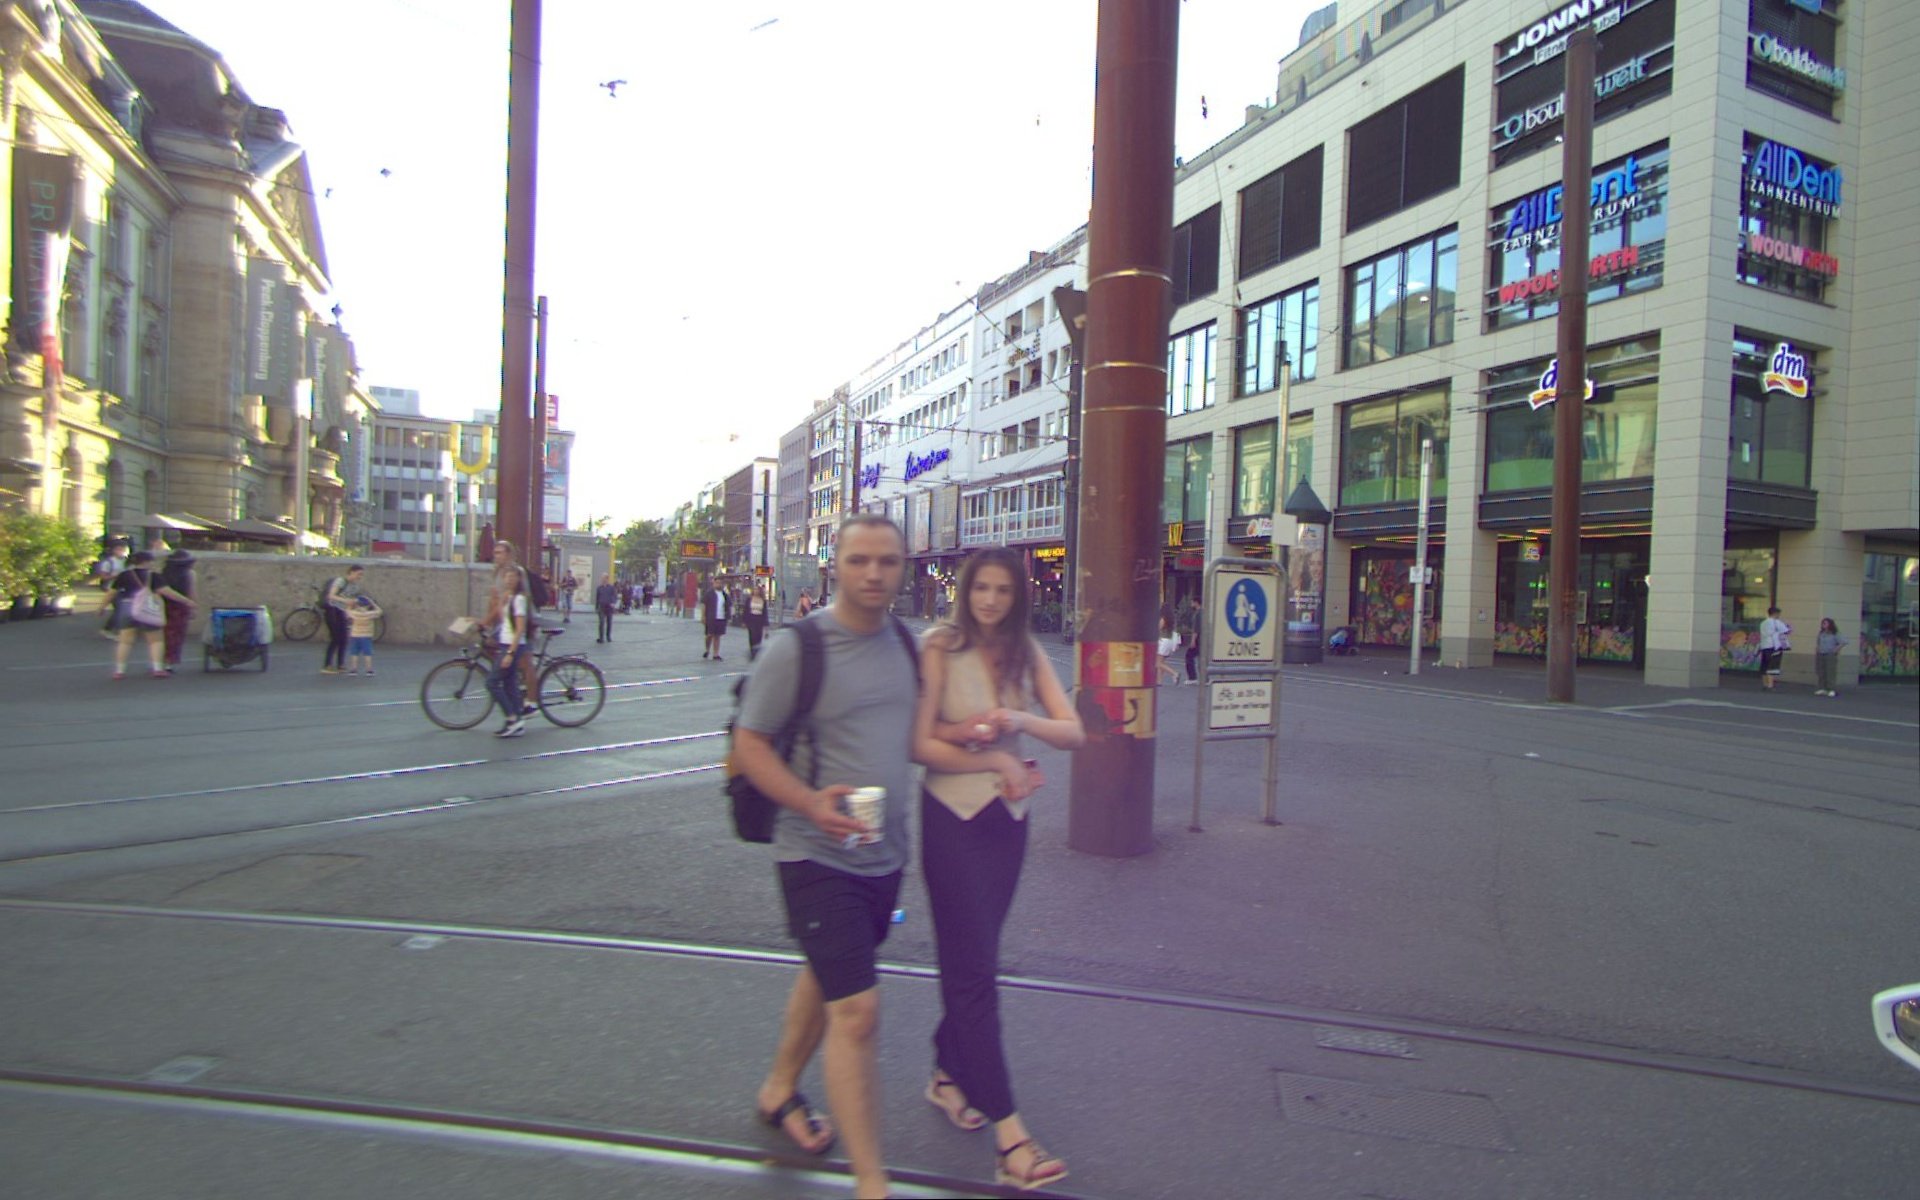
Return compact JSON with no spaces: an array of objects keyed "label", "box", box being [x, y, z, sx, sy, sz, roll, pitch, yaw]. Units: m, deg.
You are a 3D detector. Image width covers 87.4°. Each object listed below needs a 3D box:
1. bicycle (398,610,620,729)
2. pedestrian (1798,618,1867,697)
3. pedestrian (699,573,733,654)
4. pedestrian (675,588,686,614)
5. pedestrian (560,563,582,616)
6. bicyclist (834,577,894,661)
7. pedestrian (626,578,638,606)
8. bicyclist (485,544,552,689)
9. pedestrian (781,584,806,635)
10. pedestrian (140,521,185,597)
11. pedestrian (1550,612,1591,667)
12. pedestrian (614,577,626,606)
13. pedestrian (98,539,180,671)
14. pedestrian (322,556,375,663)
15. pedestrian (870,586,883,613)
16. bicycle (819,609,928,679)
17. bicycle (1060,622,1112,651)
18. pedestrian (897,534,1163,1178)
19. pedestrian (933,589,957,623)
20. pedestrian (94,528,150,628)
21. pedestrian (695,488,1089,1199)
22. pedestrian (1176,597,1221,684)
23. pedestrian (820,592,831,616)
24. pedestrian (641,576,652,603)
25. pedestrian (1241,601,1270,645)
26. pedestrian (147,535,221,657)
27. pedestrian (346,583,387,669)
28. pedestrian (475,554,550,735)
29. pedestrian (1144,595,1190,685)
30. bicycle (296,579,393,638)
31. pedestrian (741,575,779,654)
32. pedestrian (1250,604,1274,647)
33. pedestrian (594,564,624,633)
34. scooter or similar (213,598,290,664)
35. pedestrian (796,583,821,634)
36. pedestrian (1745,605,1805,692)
[{"label":"bicycle","box":[-4.590,0.692,10.287,1.999,1.113,0.570,2,1,-31]},{"label":"pedestrian","box":[19.449,1.262,22.404,0.801,1.682,0.767,2,1,-9]},{"label":"pedestrian","box":[-5.239,0.284,21.543,0.640,1.696,0.528,1,0,-17]},{"label":"pedestrian","box":[-14.487,0.048,52.011,0.446,1.338,0.426,2,2,-28]},{"label":"pedestrian","box":[-12.832,-0.348,33.147,0.641,1.696,0.712,1,0,-22]},{"label":"bicyclist","box":[-1.779,0.343,18.585,0.858,1.485,0.598,3,1,30]},{"label":"pedestrian","box":[-15.597,-0.382,47.751,0.446,1.317,0.426,2,2,-28]},{"label":"bicyclist","box":[-4.544,0.163,10.335,0.557,1.446,0.418,2,1,-30]},{"label":"pedestrian","box":[-5.525,0.327,33.350,0.573,1.658,0.685,2,0,11]},{"label":"pedestrian","box":[-18.627,-0.948,23.471,0.712,1.728,0.495,2,1,-29]},{"label":"pedestrian","box":[17.789,1.149,29.293,0.776,1.547,0.573,2,1,-11]},{"label":"pedestrian","box":[-15.900,-0.383,46.977,0.446,1.317,0.426,2,2,-28]},{"label":"pedestrian","box":[-10.605,0.059,12.977,0.811,1.636,0.689,2,0,42]},{"label":"pedestrian","box":[-9.269,0.146,15.238,0.643,1.594,0.476,1,0,-31]},{"label":"pedestrian","box":[-5.266,-0.051,63.315,0.675,1.658,0.582,2,0,-22]},{"label":"bicycle","box":[-1.590,0.787,18.455,1.884,1.130,0.700,3,1,28]},{"label":"bicycle","box":[4.823,1.405,38.479,1.888,0.999,0.451,3,1,12]},{"label":"pedestrian","box":[0.196,0.642,2.874,0.563,1.614,0.446,2,0,43]},{"label":"pedestrian","box":[-0.741,0.322,50.209,0.887,1.658,0.948,2,0,-20]},{"label":"pedestrian","box":[-14.823,-0.381,17.772,0.715,1.728,0.493,2,1,-41]},{"label":"pedestrian","box":[-0.180,0.635,2.514,0.606,1.723,0.736,2,0,-45]},{"label":"pedestrian","box":[4.736,0.802,19.973,0.641,1.696,0.527,1,0,-22]},{"label":"pedestrian","box":[-9.540,0.256,71.402,0.641,1.696,0.527,1,0,-22]},{"label":"pedestrian","box":[-16.140,-0.545,51.741,0.446,1.317,0.426,2,2,-28]},{"label":"pedestrian","box":[11.746,0.919,39.932,0.674,1.702,0.812,2,1,-22]},{"label":"pedestrian","box":[-10.806,-0.052,13.984,0.761,1.636,0.663,2,0,42]},{"label":"pedestrian","box":[-8.813,0.384,14.928,0.479,1.259,0.409,1,0,-29]},{"label":"pedestrian","box":[-4.347,0.424,9.790,0.521,1.696,0.649,1,0,-14]},{"label":"pedestrian","box":[3.993,0.765,19.375,0.641,1.696,0.527,1,0,-22]},{"label":"bicycle","box":[-12.276,0.171,20.077,1.557,1.100,0.448,2,1,-21]},{"label":"pedestrian","box":[-4.403,0.312,22.128,0.742,1.696,0.528,1,0,-17]},{"label":"pedestrian","box":[12.295,1.040,40.892,0.566,1.702,0.672,2,1,-22]},{"label":"pedestrian","box":[-8.790,-0.035,25.141,0.641,1.696,0.712,1,0,-22]},{"label":"scooter or similar","box":[-10.400,0.448,14.788,0.881,0.916,1.086,2,0,-34]},{"label":"pedestrian","box":[-5.010,0.289,33.161,0.573,1.658,0.685,2,0,11]},{"label":"pedestrian","box":[18.238,1.075,22.484,0.802,1.879,0.573,2,1,-11]}]
